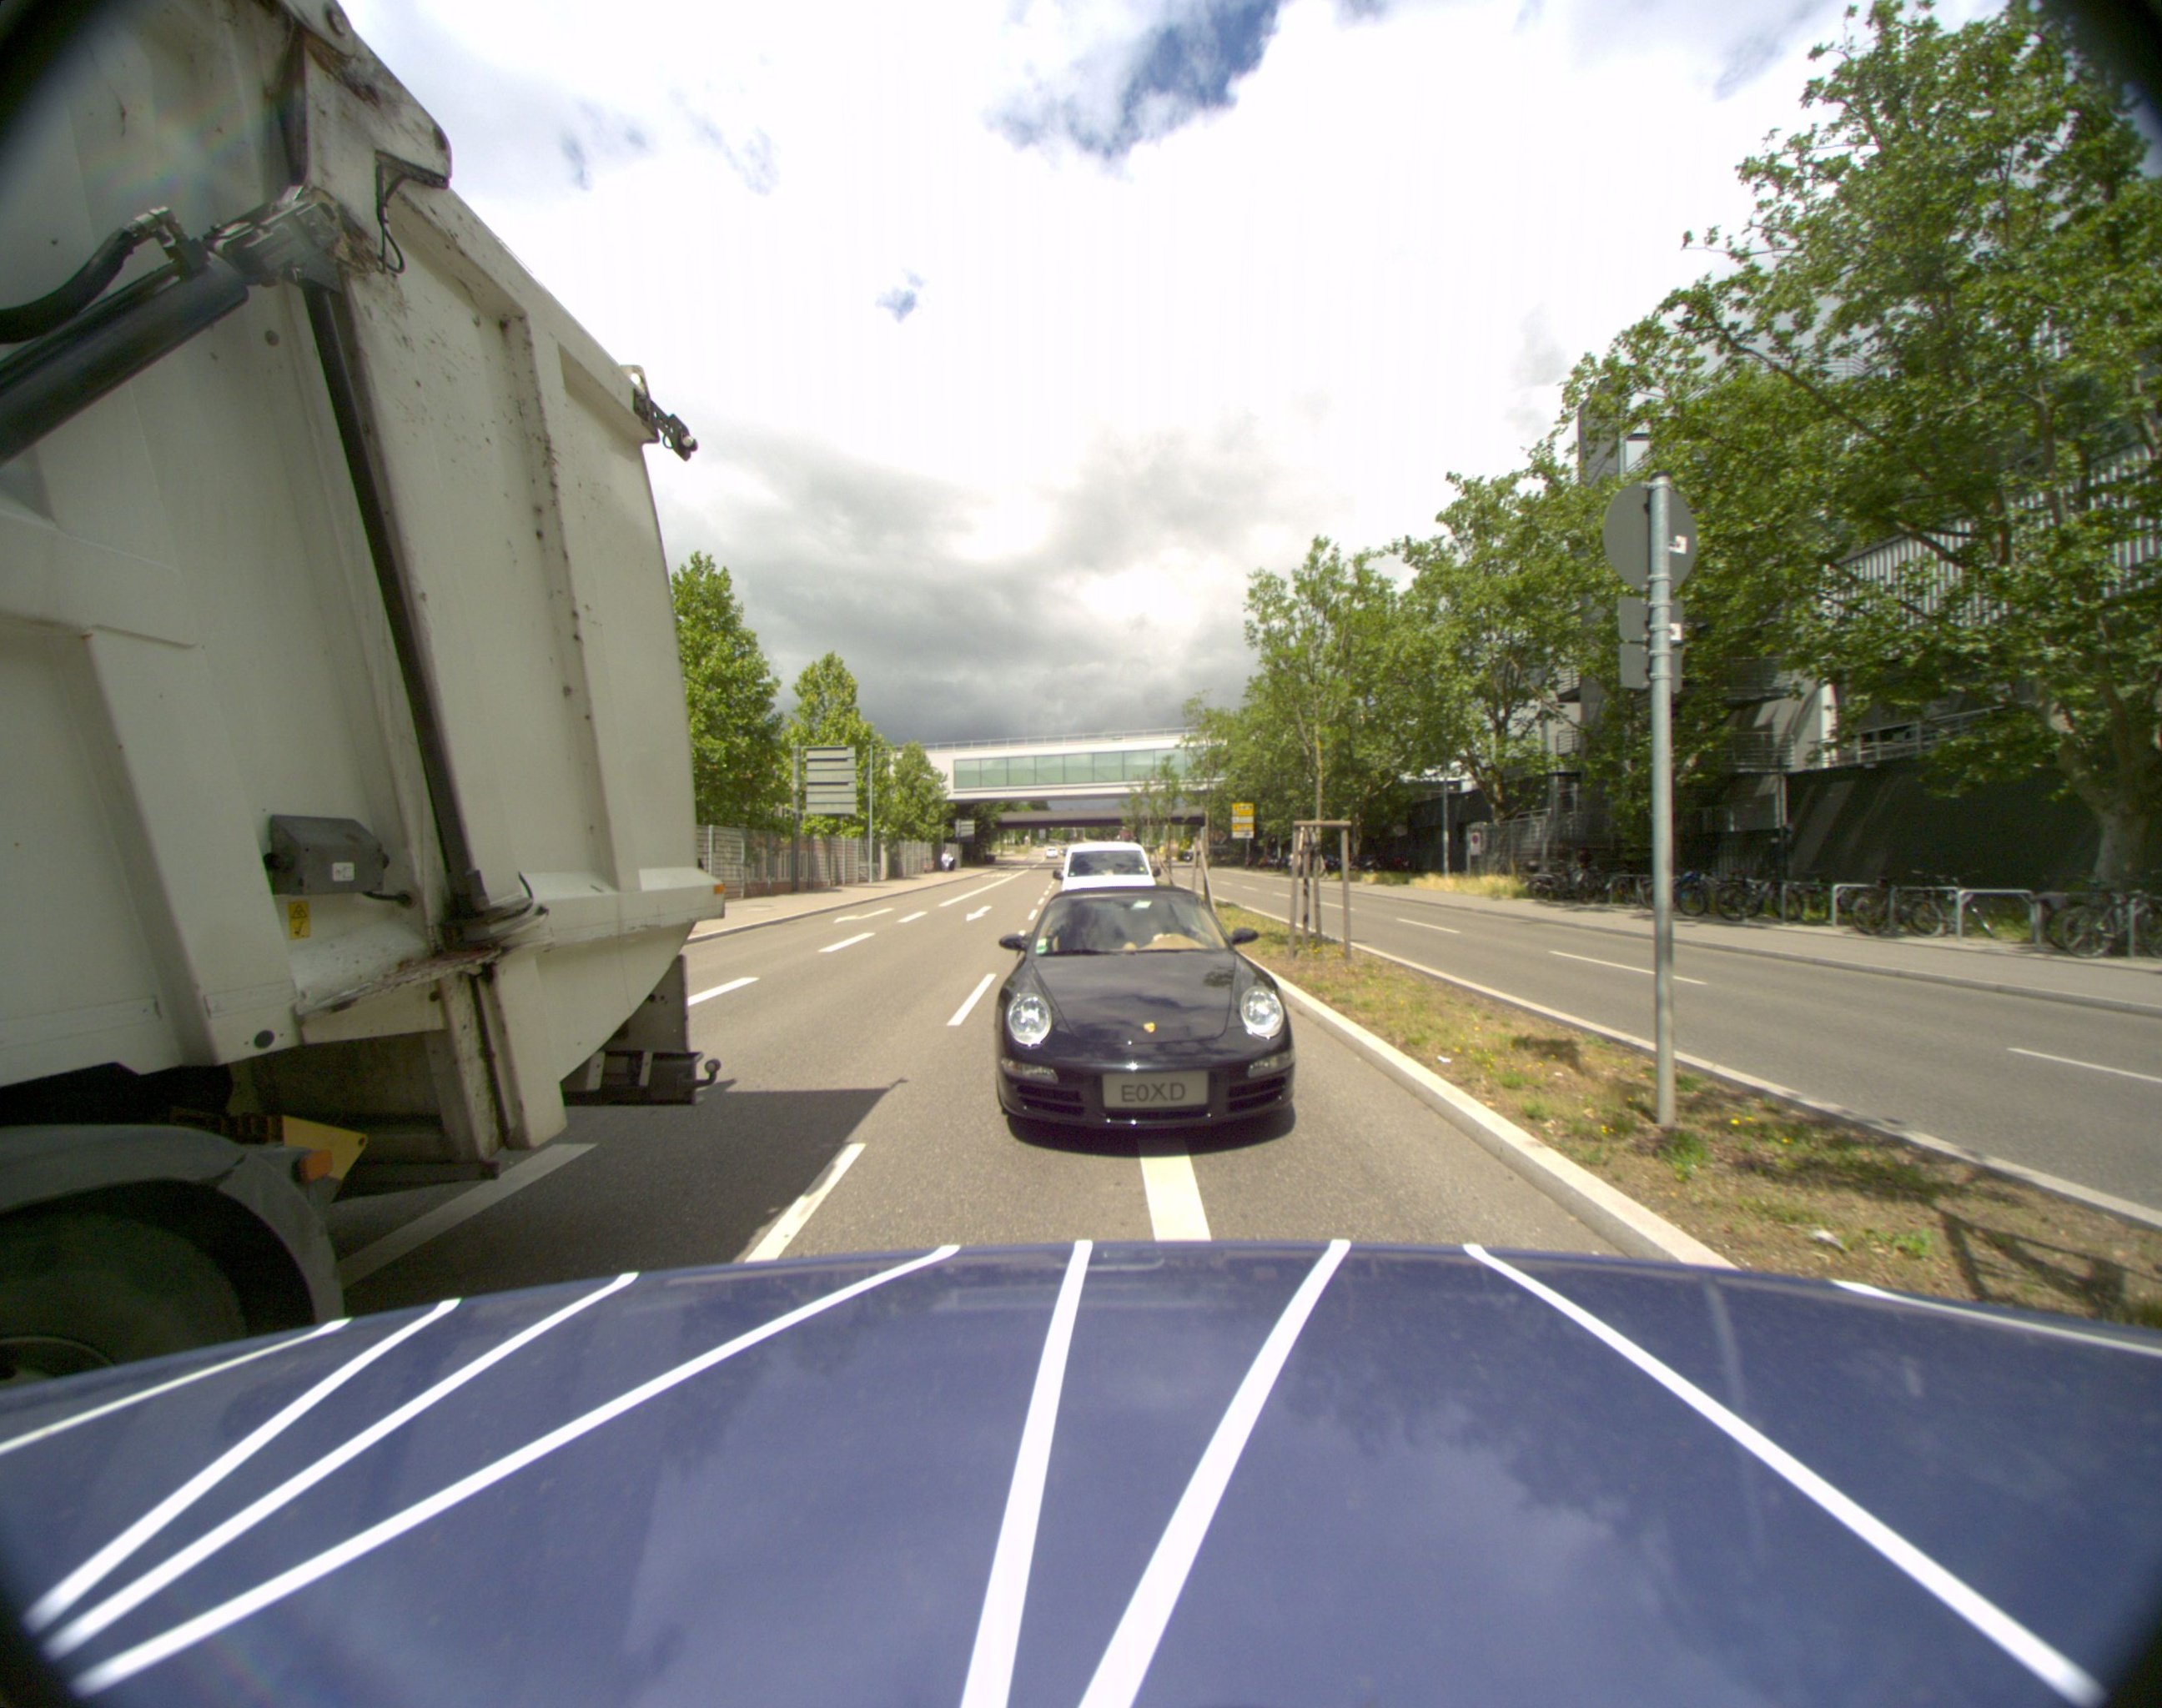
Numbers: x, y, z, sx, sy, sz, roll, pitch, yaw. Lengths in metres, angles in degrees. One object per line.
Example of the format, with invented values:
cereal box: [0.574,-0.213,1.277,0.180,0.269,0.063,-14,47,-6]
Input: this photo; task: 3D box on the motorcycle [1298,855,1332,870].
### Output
motorcycle: [15.833,0.586,51.441,2.133,0.963,0.534,-1,0,1]

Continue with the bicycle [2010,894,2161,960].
bicycle: [14.953,1.070,11.238,1.993,0.885,0.382,-1,1,-1]

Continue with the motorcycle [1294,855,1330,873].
motorcycle: [14.981,0.661,49.212,2.133,1.131,0.534,-1,0,1]

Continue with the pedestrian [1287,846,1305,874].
pedestrian: [12.963,0.365,45.911,0.900,1.710,0.673,-1,1,1]

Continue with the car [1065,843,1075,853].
car: [-2.152,-1.222,152.646,1.862,1.800,4.357,-3,0,1]

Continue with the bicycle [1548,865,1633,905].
bicycle: [14.749,0.901,22.019,2.129,1.104,0.382,-1,1,3]

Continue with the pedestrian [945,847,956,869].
pedestrian: [-11.003,0.334,64.150,0.739,1.901,0.658,-2,1,-1]

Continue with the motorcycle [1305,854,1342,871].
motorcycle: [15.216,0.538,47.651,2.133,0.963,0.534,-1,0,1]

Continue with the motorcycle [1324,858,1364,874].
motorcycle: [15.305,0.699,44.303,2.133,0.880,0.534,-1,0,1]

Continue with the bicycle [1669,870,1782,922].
bicycle: [14.476,0.931,17.082,2.129,1.104,0.382,-1,1,3]

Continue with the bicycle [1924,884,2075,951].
bicycle: [14.750,1.012,12.217,1.993,0.992,0.382,-1,1,-1]

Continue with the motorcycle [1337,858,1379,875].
motorcycle: [15.418,0.679,42.378,2.133,0.893,0.534,-1,0,1]

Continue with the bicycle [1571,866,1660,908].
bicycle: [14.819,0.914,21.096,2.129,1.104,0.382,-1,1,3]

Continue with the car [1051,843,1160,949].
car: [0.459,0.732,15.639,1.862,1.800,4.906,-1,0,1]

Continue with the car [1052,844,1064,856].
car: [-4.208,-0.789,139.861,1.925,2.082,4.657,-1,0,2]

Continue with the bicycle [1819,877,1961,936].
bicycle: [15.008,0.968,14.112,2.129,1.025,0.382,-1,1,3]

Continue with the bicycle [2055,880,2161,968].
bicycle: [14.351,0.926,10.235,1.993,1.121,0.382,-1,1,-1]

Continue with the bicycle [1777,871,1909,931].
bicycle: [15.038,0.925,15.019,2.129,1.104,0.382,-1,1,3]

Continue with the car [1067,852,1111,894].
car: [0.312,0.744,32.315,1.747,1.647,3.545,-1,0,0]

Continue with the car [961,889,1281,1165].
car: [0.242,1.033,6.029,1.710,1.280,3.806,-1,0,1]

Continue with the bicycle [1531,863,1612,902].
bicycle: [14.745,0.864,22.860,2.129,1.104,0.382,-1,1,3]

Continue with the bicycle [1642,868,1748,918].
bicycle: [14.501,0.923,17.969,2.129,1.104,0.382,-1,1,3]

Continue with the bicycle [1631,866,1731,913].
bicycle: [15.061,0.894,19.084,2.129,1.104,0.382,-1,1,3]

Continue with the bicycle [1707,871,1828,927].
bicycle: [14.497,0.942,16.058,2.129,1.104,0.382,-1,1,3]

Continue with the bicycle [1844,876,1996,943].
bicycle: [14.575,0.955,13.218,2.129,1.089,0.382,-1,1,3]
